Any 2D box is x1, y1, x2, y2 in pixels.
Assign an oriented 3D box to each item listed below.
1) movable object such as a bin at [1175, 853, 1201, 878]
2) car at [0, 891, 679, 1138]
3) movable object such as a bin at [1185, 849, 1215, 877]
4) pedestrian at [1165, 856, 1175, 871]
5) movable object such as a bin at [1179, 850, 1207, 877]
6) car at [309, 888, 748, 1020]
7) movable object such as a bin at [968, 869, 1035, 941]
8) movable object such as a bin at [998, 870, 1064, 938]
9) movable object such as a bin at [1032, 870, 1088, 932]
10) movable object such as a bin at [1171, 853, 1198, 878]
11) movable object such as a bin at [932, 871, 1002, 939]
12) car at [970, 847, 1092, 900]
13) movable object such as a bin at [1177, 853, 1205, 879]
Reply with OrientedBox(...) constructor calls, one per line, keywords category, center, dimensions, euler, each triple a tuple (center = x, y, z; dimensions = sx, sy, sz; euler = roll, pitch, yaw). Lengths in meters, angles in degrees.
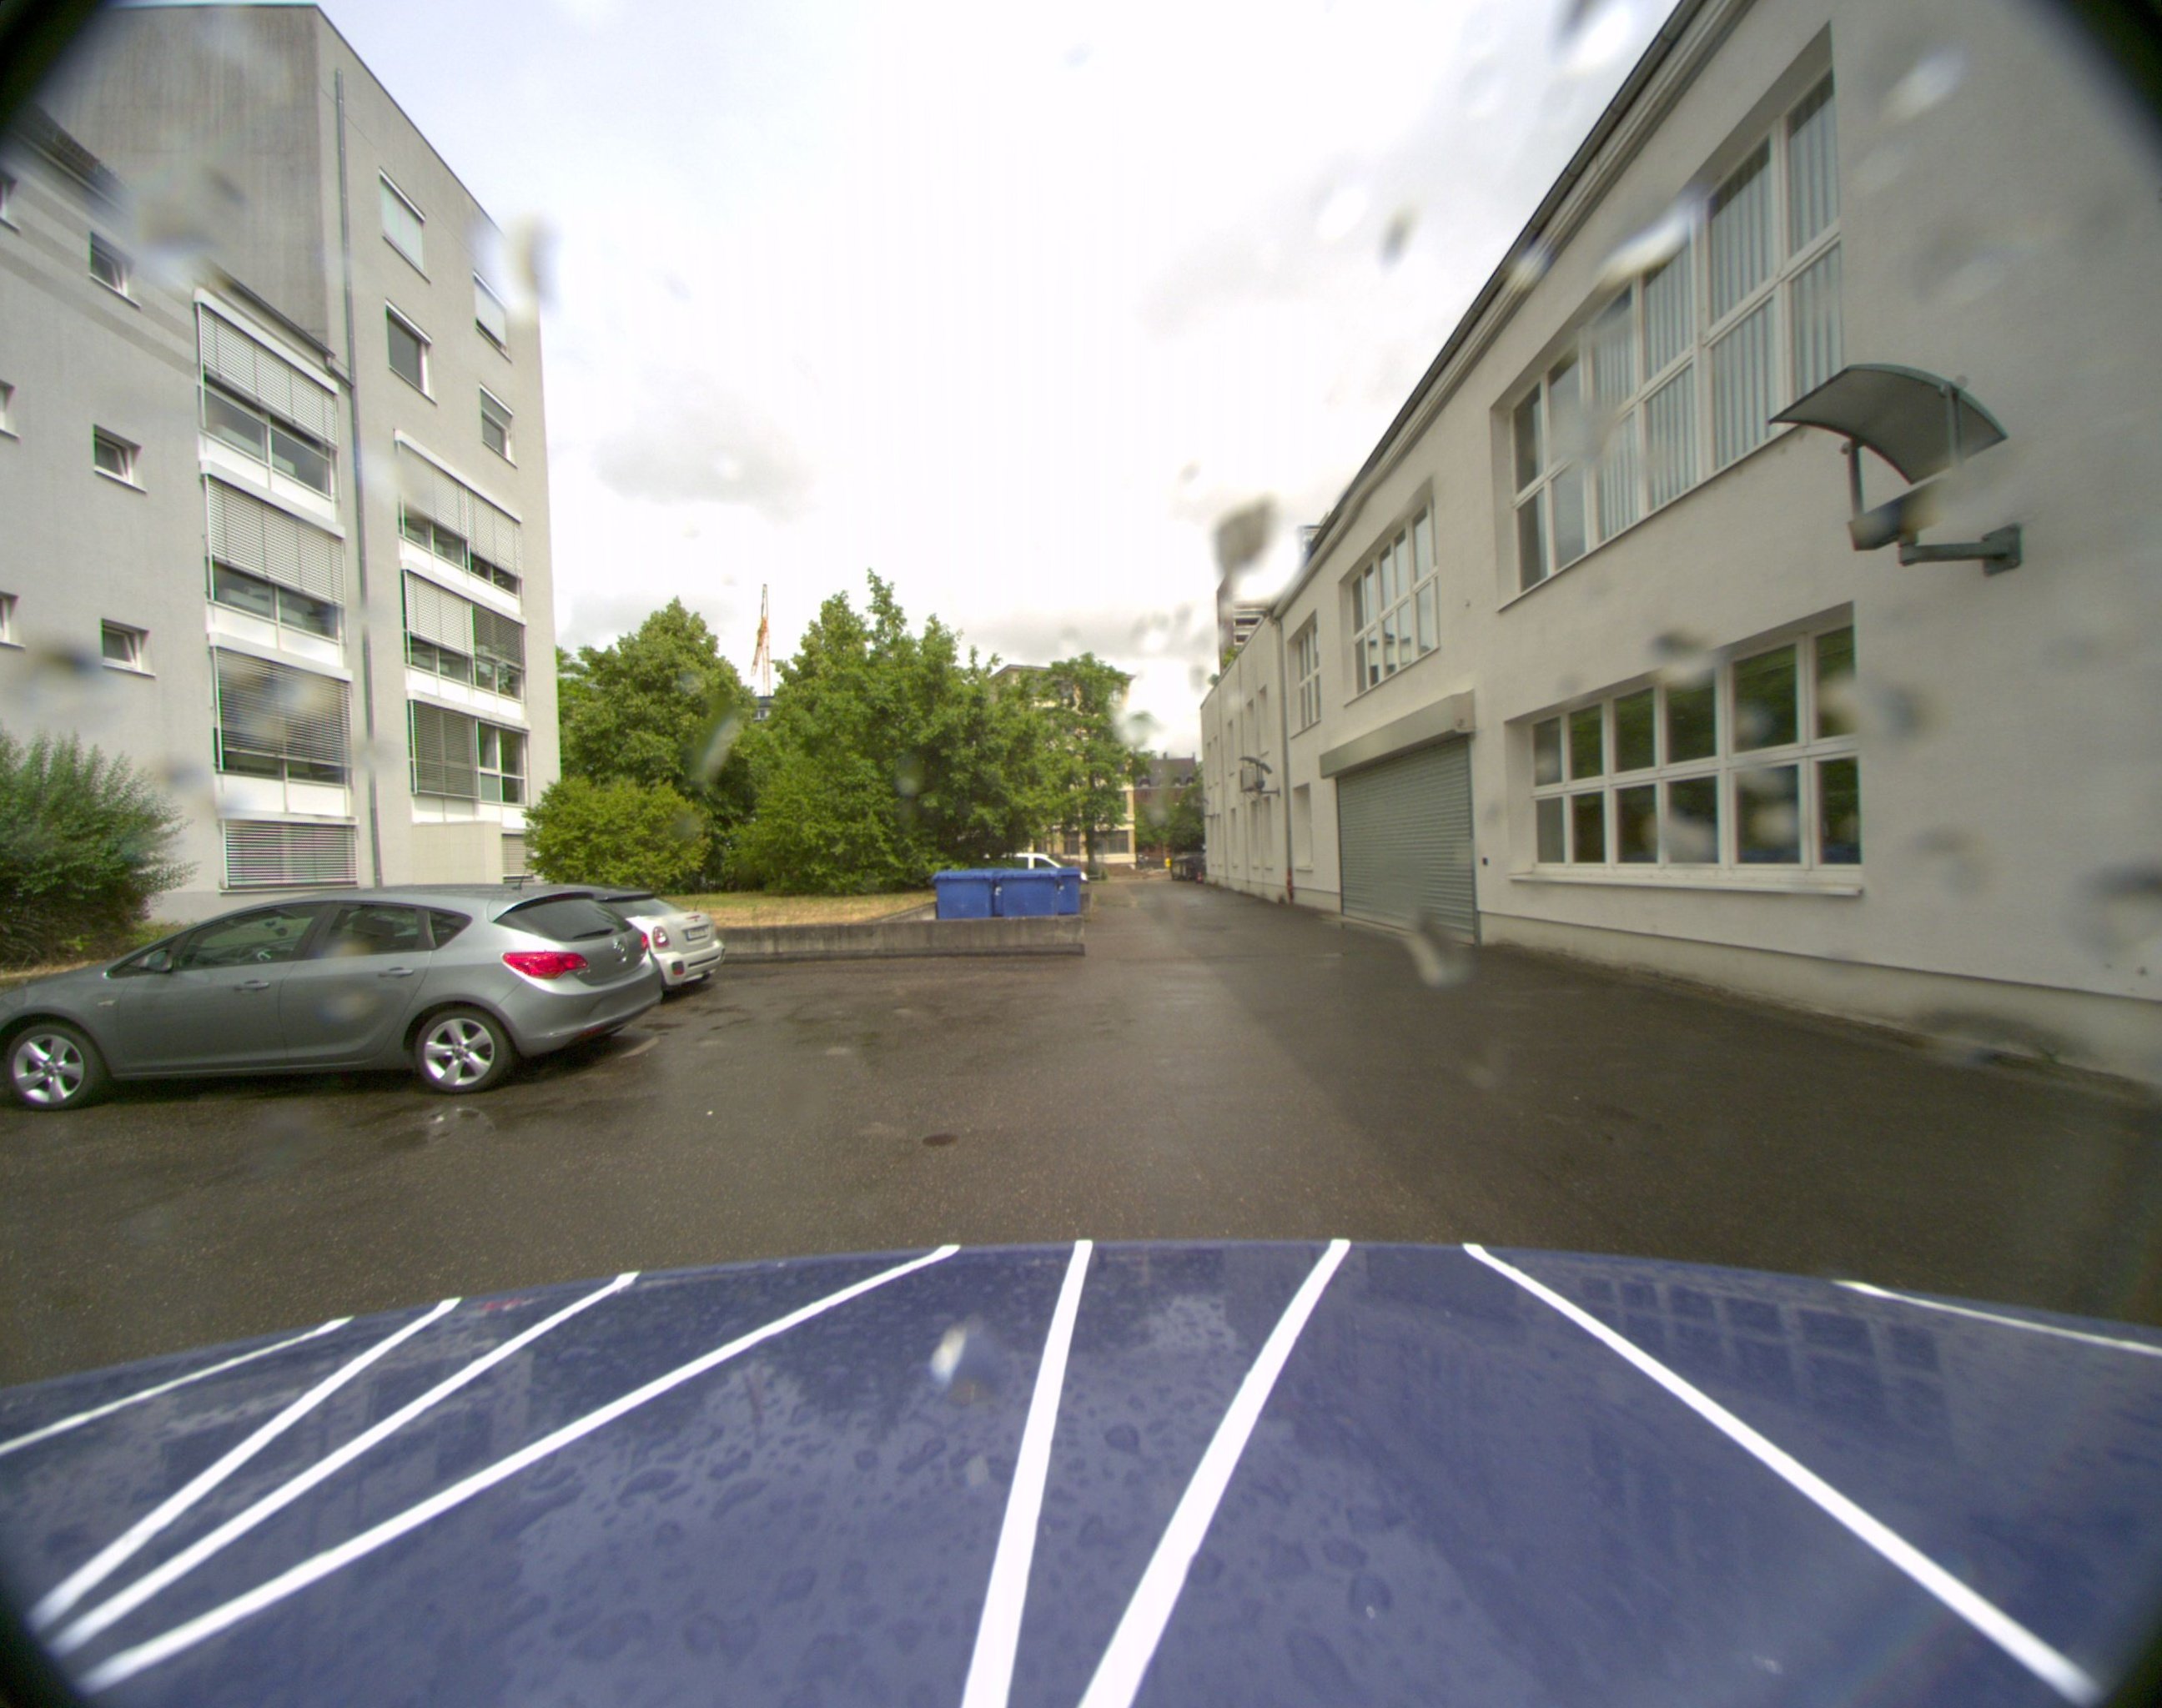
OrientedBox(category="movable object such as a bin", center=(6.550, 0.713, 46.551), dimensions=(1.363, 1.462, 1.465), euler=(-4, -1, 1))
OrientedBox(category="car", center=(-5.692, 1.124, 5.986), dimensions=(4.091, 1.449, 1.667), euler=(-2, 1, -2))
OrientedBox(category="movable object such as a bin", center=(6.547, 0.502, 41.977), dimensions=(1.363, 1.462, 1.366), euler=(-4, -1, 1))
OrientedBox(category="pedestrian", center=(9.053, 0.948, 77.384), dimensions=(0.650, 1.500, 0.623), euler=(-2, 0, -39))
OrientedBox(category="movable object such as a bin", center=(6.411, 0.540, 43.667), dimensions=(1.363, 1.462, 1.366), euler=(-4, -1, 1))
OrientedBox(category="car", center=(-6.422, 1.130, 9.184), dimensions=(3.997, 1.346, 1.791), euler=(0, 0, 1))
OrientedBox(category="movable object such as a bin", center=(-1.763, 1.117, 17.087), dimensions=(1.278, 1.474, 1.102), euler=(-4, -1, 1))
OrientedBox(category="movable object such as a bin", center=(-1.007, 1.007, 15.671), dimensions=(1.232, 1.309, 1.056), euler=(-2, -1, 1))
OrientedBox(category="movable object such as a bin", center=(-0.465, 1.056, 17.502), dimensions=(1.177, 1.309, 1.056), euler=(-4, -1, 1))
OrientedBox(category="movable object such as a bin", center=(6.564, 0.747, 48.133), dimensions=(1.412, 1.462, 1.561), euler=(-4, -1, 1))
OrientedBox(category="movable object such as a bin", center=(-2.321, 1.034, 15.687), dimensions=(1.232, 1.309, 1.056), euler=(-2, -1, 1))
OrientedBox(category="car", center=(-2.085, 0.803, 32.941), dimensions=(4.947, 2.002, 2.001), euler=(-3, 0, 5))
OrientedBox(category="movable object such as a bin", center=(6.528, 0.710, 45.101), dimensions=(1.363, 1.462, 1.352), euler=(-4, -1, 1))
